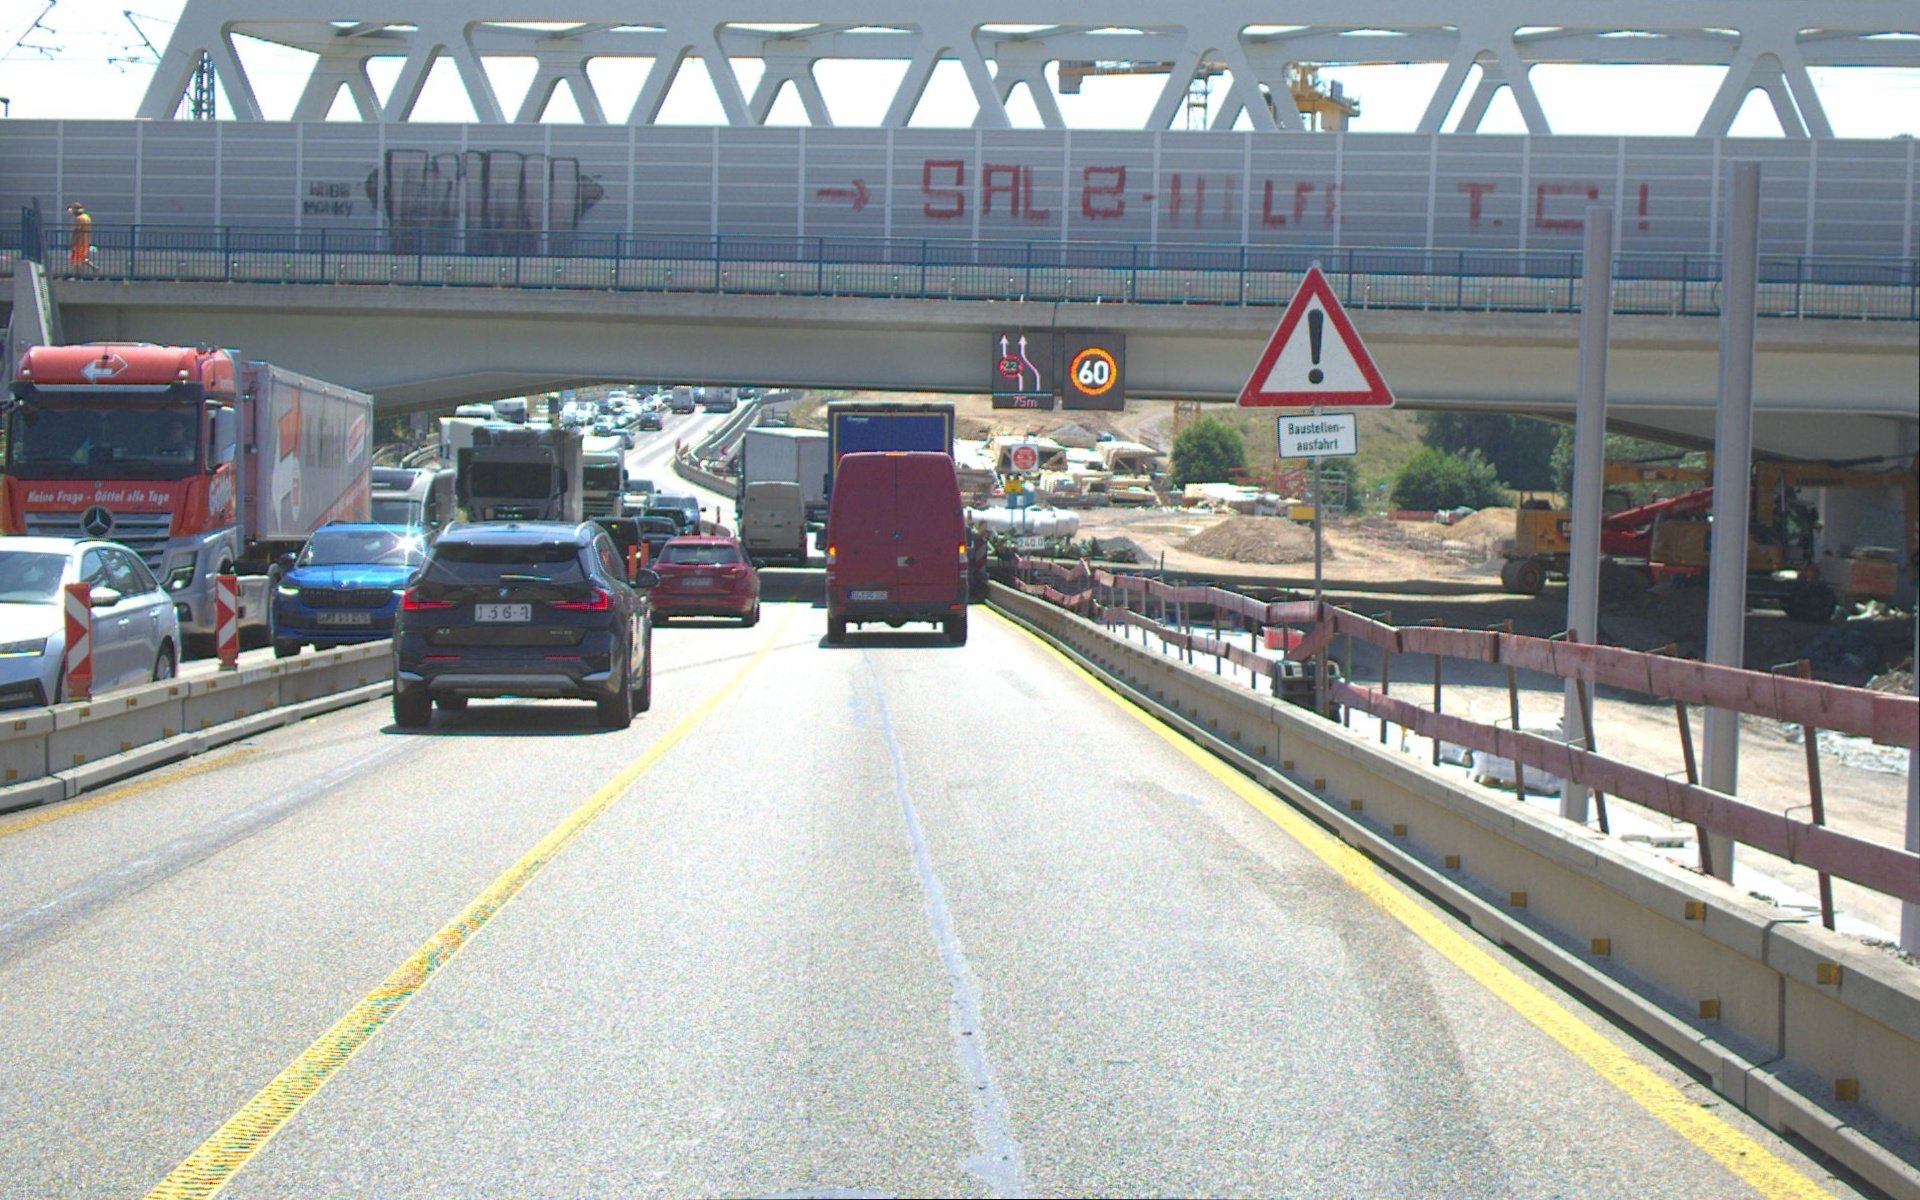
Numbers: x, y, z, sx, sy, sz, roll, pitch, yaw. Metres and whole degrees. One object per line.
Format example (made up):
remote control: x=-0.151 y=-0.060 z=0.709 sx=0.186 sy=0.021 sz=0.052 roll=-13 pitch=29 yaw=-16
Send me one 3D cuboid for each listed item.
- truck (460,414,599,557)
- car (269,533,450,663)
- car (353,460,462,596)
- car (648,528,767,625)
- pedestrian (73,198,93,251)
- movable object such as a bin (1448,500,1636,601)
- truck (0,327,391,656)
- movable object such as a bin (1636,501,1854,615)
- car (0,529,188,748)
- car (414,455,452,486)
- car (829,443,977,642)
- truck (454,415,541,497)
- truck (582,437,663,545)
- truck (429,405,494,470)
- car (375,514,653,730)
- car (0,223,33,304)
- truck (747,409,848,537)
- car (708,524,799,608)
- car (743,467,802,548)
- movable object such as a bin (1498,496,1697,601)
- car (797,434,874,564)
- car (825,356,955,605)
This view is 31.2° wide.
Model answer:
truck: x=-12.387 y=-3.294 z=99.941 sx=2.834 sy=3.839 sz=12.914 roll=1 pitch=2 yaw=-2
car: x=-7.208 y=-0.058 z=41.559 sx=1.580 sy=1.441 sz=3.664 roll=1 pitch=1 yaw=-1
car: x=-11.276 y=-1.495 z=70.413 sx=1.580 sy=2.645 sz=5.392 roll=1 pitch=1 yaw=-3
car: x=-4.130 y=-0.416 z=56.774 sx=1.776 sy=1.512 sz=4.207 roll=0 pitch=2 yaw=-2
pedestrian: x=-20.180 y=-8.636 z=79.097 sx=0.336 sy=1.207 sz=0.308 roll=1 pitch=1 yaw=12
movable object such as a bin: x=16.886 y=-1.447 z=100.005 sx=5.147 sy=2.798 sz=2.142 roll=1 pitch=1 yaw=4
truck: x=-10.232 y=-1.449 z=46.907 sx=2.835 sy=3.839 sz=12.913 roll=1 pitch=2 yaw=0
movable object such as a bin: x=20.180 y=-1.088 z=88.523 sx=5.147 sy=2.798 sz=2.142 roll=1 pitch=1 yaw=4
car: x=-7.100 y=0.218 z=25.483 sx=1.833 sy=1.441 sz=4.156 roll=1 pitch=2 yaw=0
car: x=-30.344 y=-7.437 z=197.884 sx=1.746 sy=1.744 sz=4.002 roll=1 pitch=2 yaw=-15
car: x=-0.859 y=-0.843 z=48.817 sx=1.988 sy=2.681 sz=4.624 roll=0 pitch=2 yaw=-2
truck: x=-22.843 y=-6.996 z=169.104 sx=2.834 sy=3.839 sz=12.917 roll=1 pitch=2 yaw=-14
truck: x=-12.835 y=-4.105 z=130.140 sx=2.834 sy=3.839 sz=12.915 roll=1 pitch=2 yaw=-6
truck: x=-31.634 y=-10.231 z=217.754 sx=2.834 sy=3.839 sz=12.417 roll=1 pitch=2 yaw=-14
car: x=-3.563 y=0.110 z=28.195 sx=1.879 sy=1.612 sz=4.500 roll=0 pitch=2 yaw=-2
car: x=-24.445 y=-7.935 z=81.094 sx=4.556 sy=1.776 sz=1.959 roll=1 pitch=1 yaw=12
truck: x=-7.289 y=-5.563 z=152.315 sx=2.834 sy=5.380 sz=12.916 roll=1 pitch=2 yaw=-10
car: x=-4.287 y=-0.737 z=71.784 sx=1.839 sy=1.648 sz=4.165 roll=0 pitch=2 yaw=-3
car: x=-5.770 y=-2.858 z=106.312 sx=1.775 sy=2.432 sz=4.207 roll=0 pitch=2 yaw=-2
movable object such as a bin: x=17.673 y=-1.440 z=95.521 sx=5.147 sy=2.798 sz=2.142 roll=1 pitch=1 yaw=4
car: x=-4.108 y=-3.319 z=112.999 sx=2.450 sy=4.146 sz=6.861 roll=0 pitch=2 yaw=-2
car: x=-1.622 y=-2.562 z=74.757 sx=2.621 sy=5.014 sz=10.398 roll=0 pitch=2 yaw=-2
